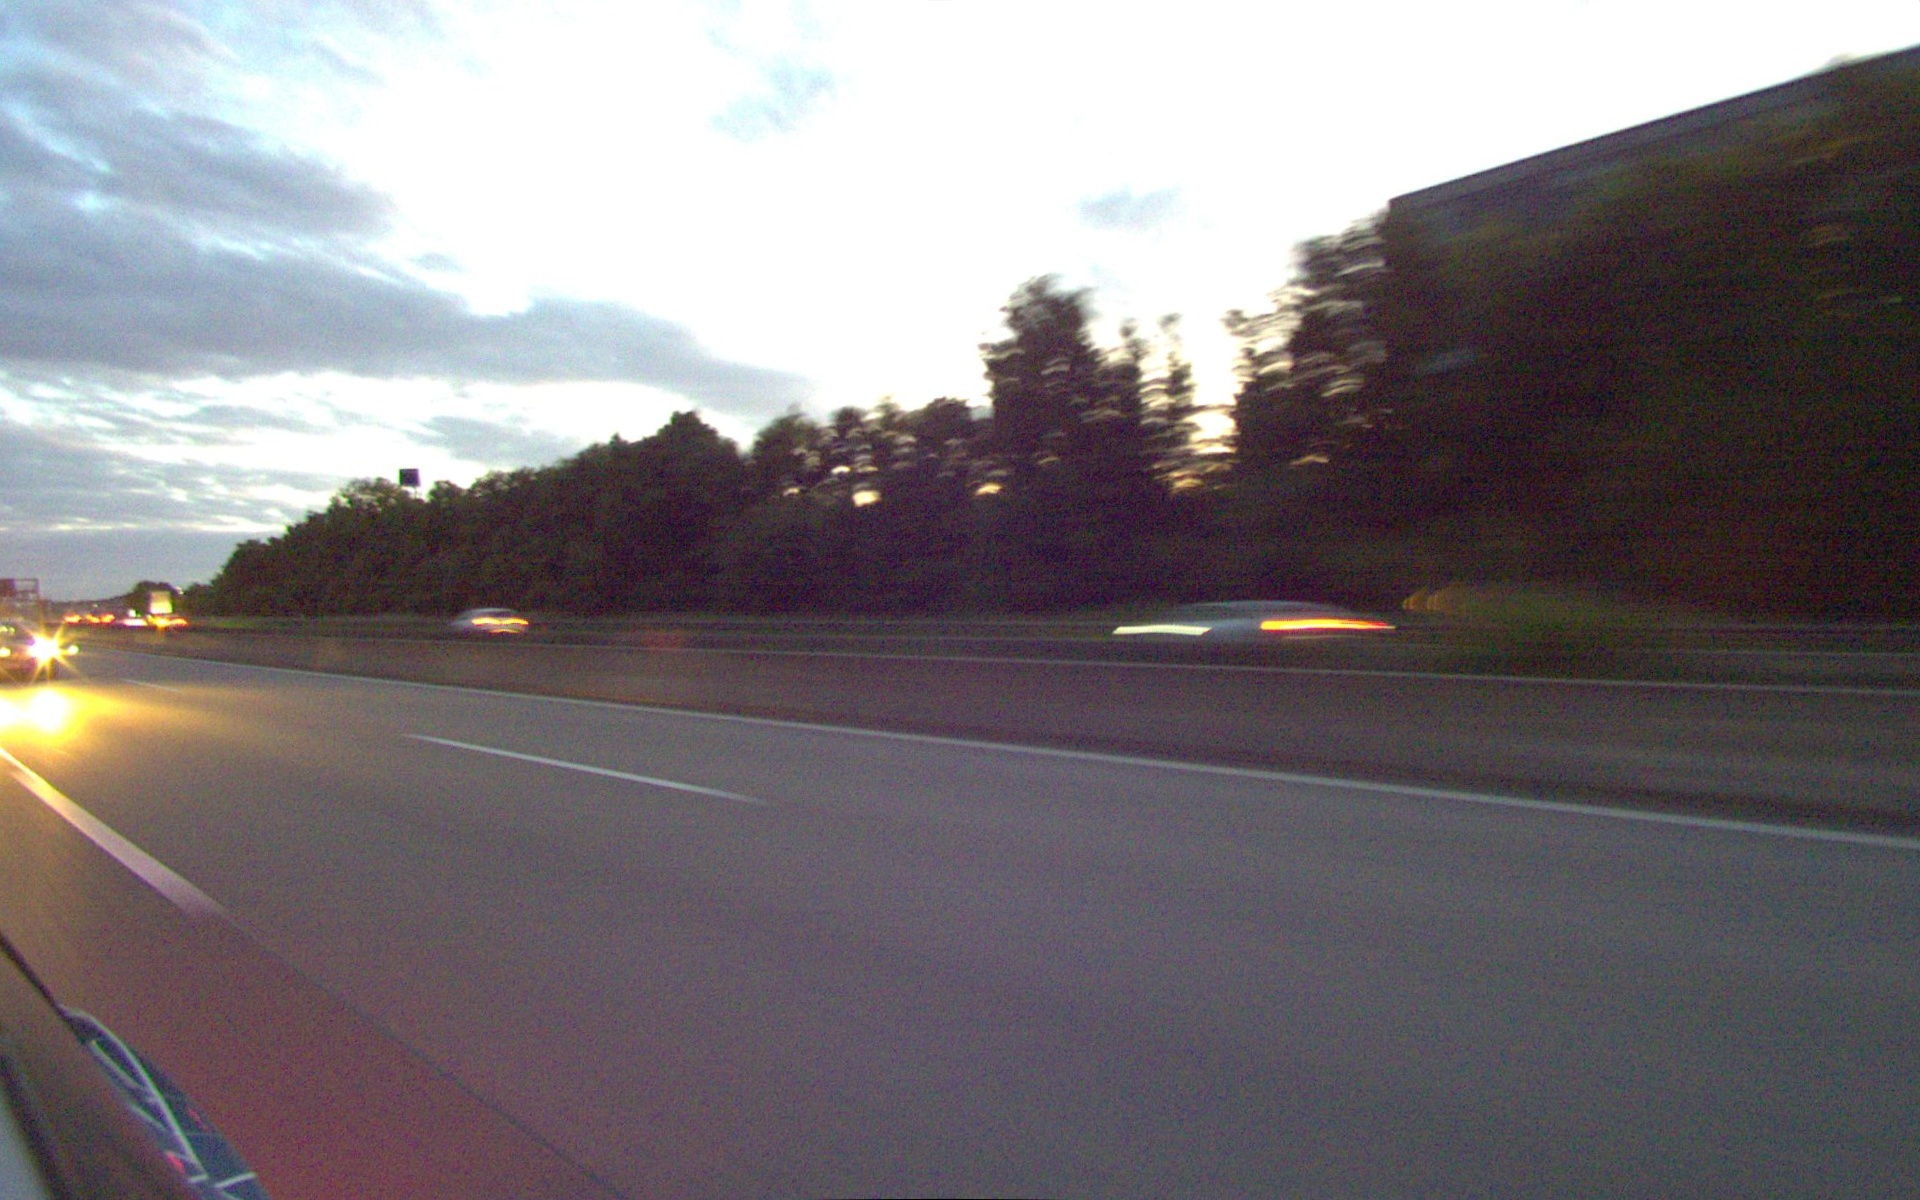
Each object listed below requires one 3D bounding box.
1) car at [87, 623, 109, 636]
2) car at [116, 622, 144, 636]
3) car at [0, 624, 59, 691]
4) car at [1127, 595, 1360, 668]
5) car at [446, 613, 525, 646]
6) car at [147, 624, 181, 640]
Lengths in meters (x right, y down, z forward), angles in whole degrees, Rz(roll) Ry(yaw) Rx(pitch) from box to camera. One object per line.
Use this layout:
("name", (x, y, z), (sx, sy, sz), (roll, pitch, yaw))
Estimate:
("car", (-125.168, 4.305, 146.953), (4.841, 1.804, 1.972), (-1, 0, 44))
("car", (-92.326, 3.184, 112.554), (3.835, 1.464, 1.972), (-1, 0, 43))
("car", (-23.437, 1.361, 24.764), (4.000, 1.491, 1.694), (-1, 0, 43))
("car", (6.671, 0.716, 24.200), (5.004, 1.545, 1.973), (-1, 0, 41))
("car", (-23.933, 1.456, 50.990), (4.505, 1.516, 1.972), (-1, 0, 42))
("car", (-71.834, 2.834, 91.306), (1.814, 1.346, 4.912), (-1, 0, -45))
